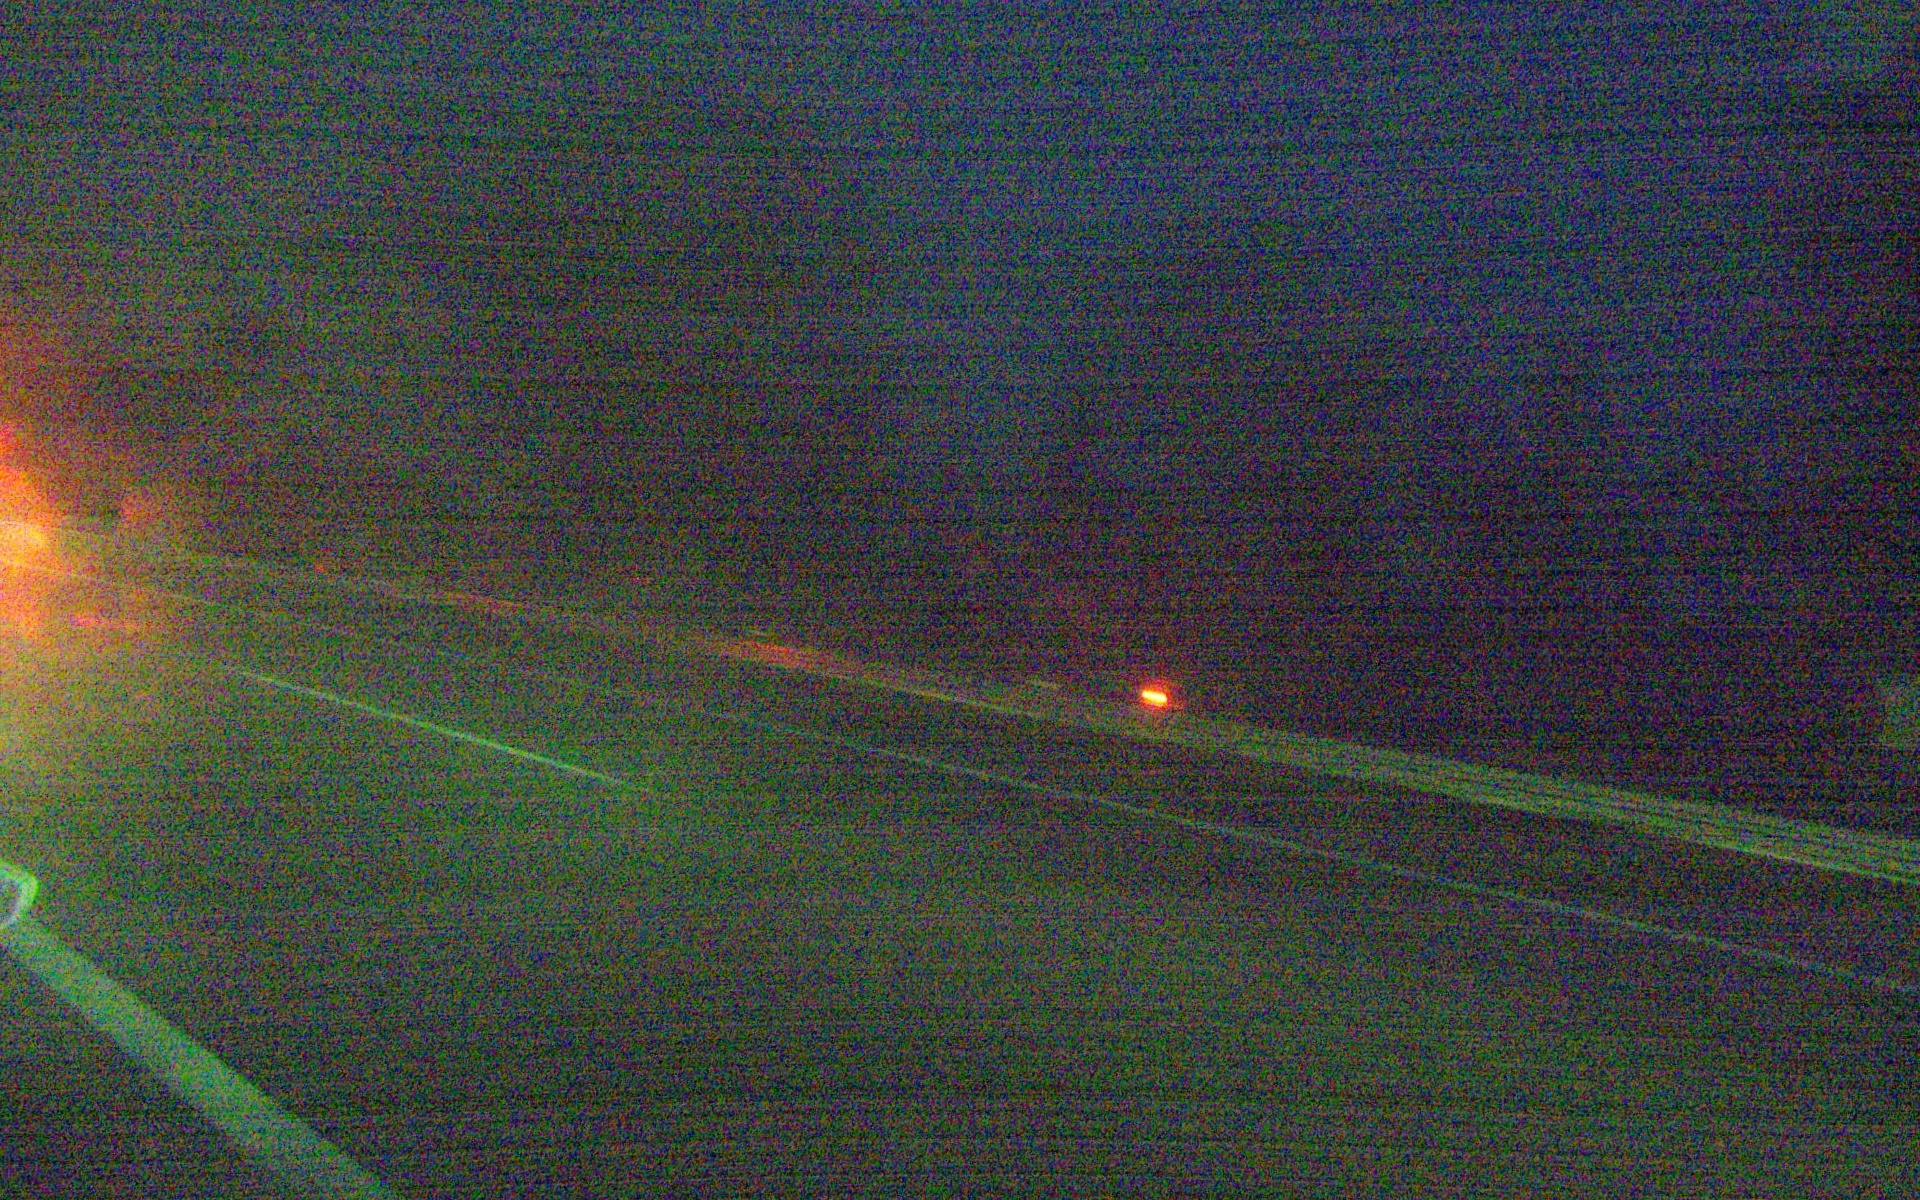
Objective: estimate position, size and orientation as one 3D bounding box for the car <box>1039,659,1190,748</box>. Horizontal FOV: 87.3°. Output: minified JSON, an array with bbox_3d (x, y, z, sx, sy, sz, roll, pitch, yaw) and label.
[{"bbox_3d":[4.863,3.261,31.930,2.230,2.035,3.950,12,-4,-44],"label":"car"}]
